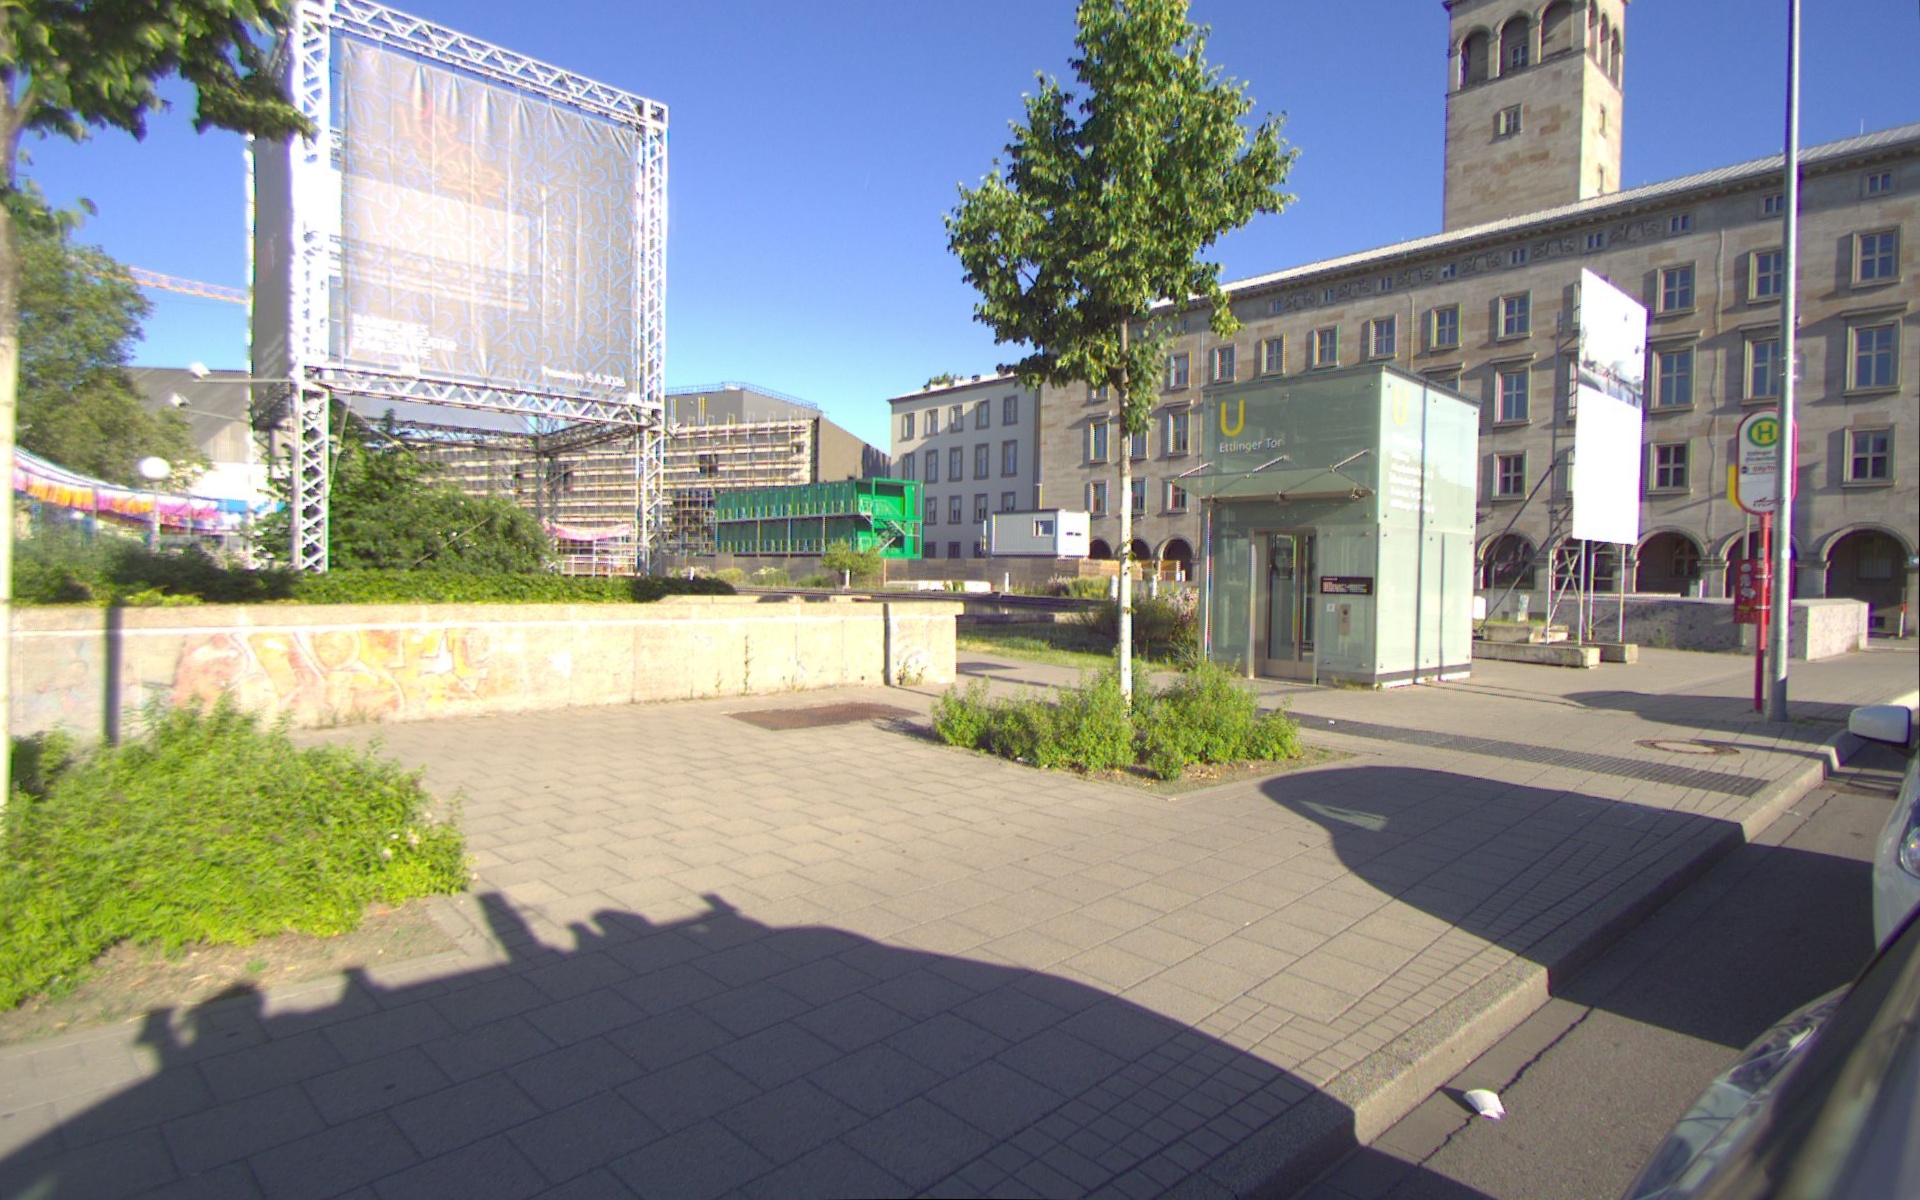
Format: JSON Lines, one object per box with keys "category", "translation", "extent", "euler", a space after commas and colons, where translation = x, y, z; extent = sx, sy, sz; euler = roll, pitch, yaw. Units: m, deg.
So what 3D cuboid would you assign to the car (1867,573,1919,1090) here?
{"category": "car", "translation": [4.647, 0.676, 3.673], "extent": [3.930, 1.473, 1.518], "euler": [0, 2, -41]}
